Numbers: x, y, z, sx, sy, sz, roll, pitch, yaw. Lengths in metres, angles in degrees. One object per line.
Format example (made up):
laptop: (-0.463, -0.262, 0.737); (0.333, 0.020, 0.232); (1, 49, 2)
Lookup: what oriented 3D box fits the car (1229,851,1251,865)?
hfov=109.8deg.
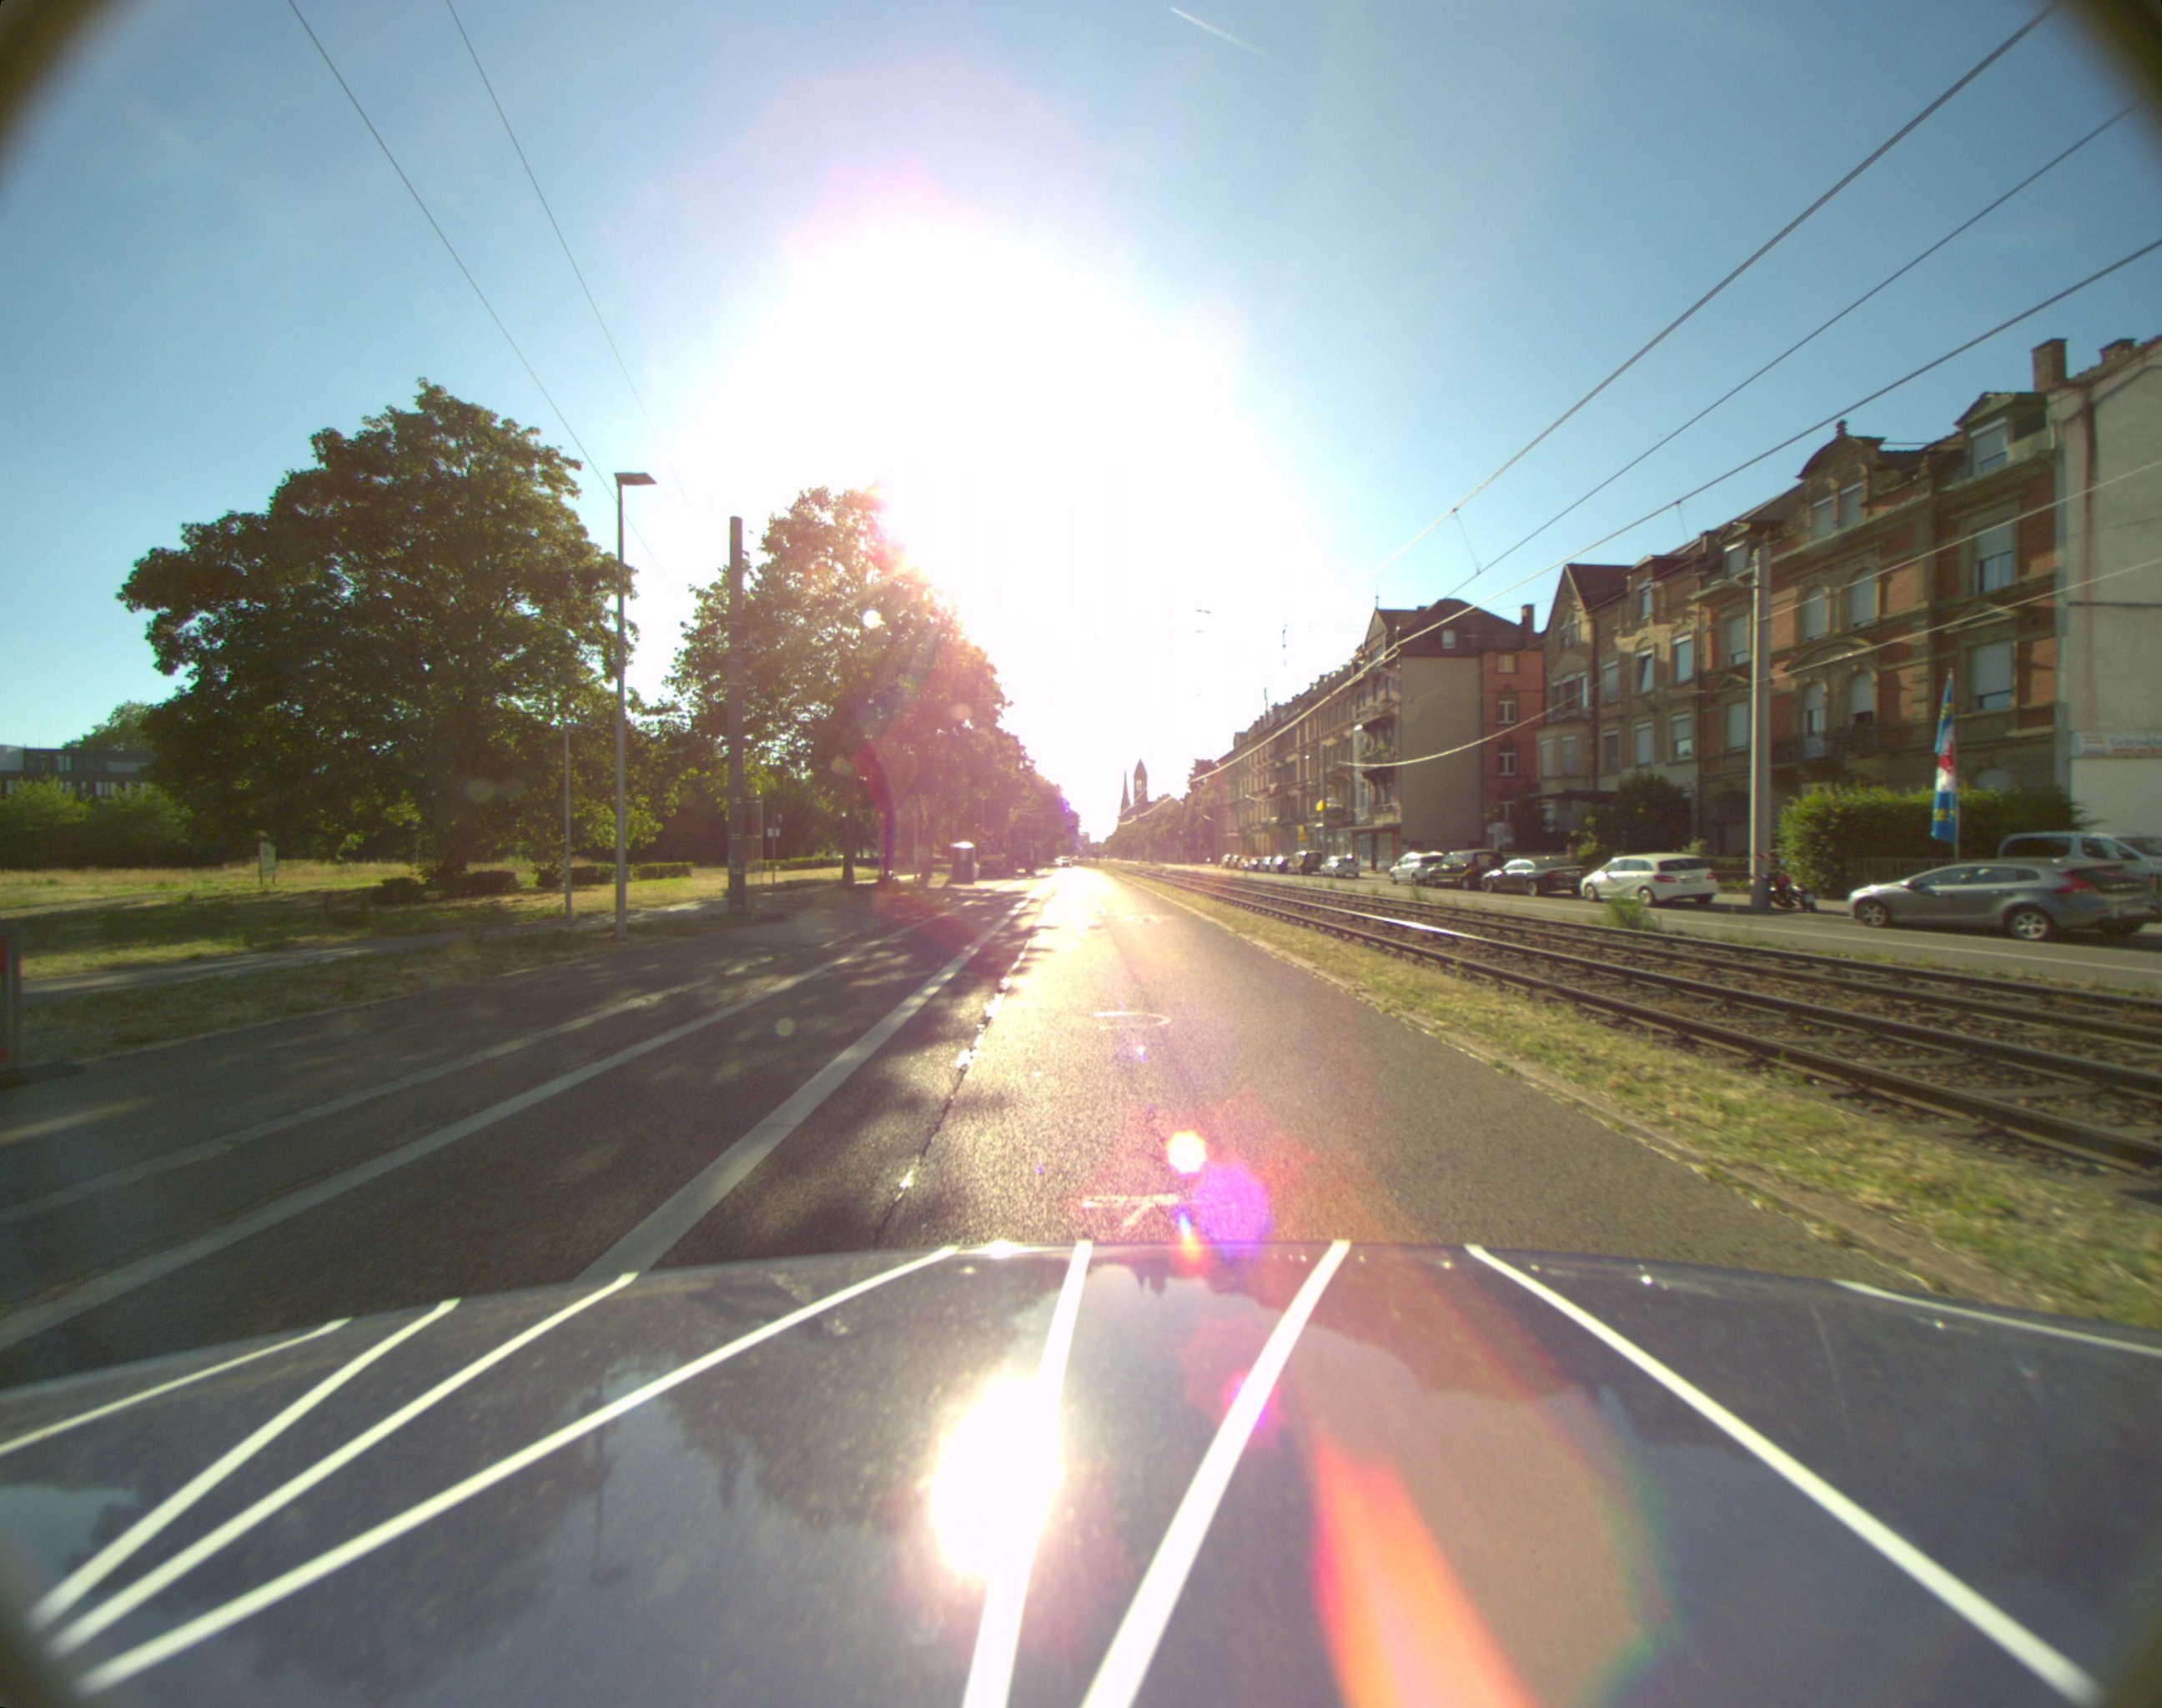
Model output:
car: (18.174, 0.416, 87.142); (1.664, 1.437, 3.764); (-2, 0, 0)

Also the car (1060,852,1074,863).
car: (-1.869, 0.470, 104.169); (1.799, 1.501, 4.000); (-3, 0, 0)

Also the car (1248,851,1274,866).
car: (18.168, 0.432, 76.900); (1.664, 1.437, 3.980); (-2, 0, 0)

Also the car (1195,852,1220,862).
car: (22.241, 0.528, 133.314); (3.991, 1.502, 1.802); (-2, 1, 21)

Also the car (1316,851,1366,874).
car: (18.515, 0.579, 54.360); (1.925, 1.529, 4.627); (-2, 1, 0)

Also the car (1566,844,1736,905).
car: (18.006, 0.589, 24.377); (1.925, 1.684, 4.842); (-2, 0, 2)

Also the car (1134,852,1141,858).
car: (16.721, 0.297, 224.714); (1.799, 1.501, 3.999); (0, 0, -2)

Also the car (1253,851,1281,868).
car: (17.528, 0.490, 71.822); (1.664, 1.437, 3.980); (-2, 0, 0)

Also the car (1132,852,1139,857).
car: (16.850, 0.257, 235.638); (1.799, 1.501, 3.999); (0, 0, -2)

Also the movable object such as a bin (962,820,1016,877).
movable object such as a bin: (-6.929, -0.431, 58.405); (3.347, 3.953, 7.596); (2, 0, -2)

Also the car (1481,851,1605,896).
car: (18.102, 0.700, 30.116); (1.925, 1.551, 4.841); (-2, 0, 0)

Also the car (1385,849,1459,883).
car: (18.261, 0.612, 40.939); (1.925, 1.674, 4.627); (-1, 0, 0)

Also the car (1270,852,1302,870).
car: (17.869, 0.605, 66.239); (1.664, 1.437, 3.980); (-2, 0, 0)

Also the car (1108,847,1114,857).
car: (8.868, -0.636, 224.396); (1.799, 2.766, 3.999); (0, 1, -1)

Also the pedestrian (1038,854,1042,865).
pedestrian: (-6.255, 0.773, 115.759); (0.532, 1.653, 0.486); (1, 0, -23)

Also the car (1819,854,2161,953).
car: (18.020, 0.819, 15.053); (1.926, 1.452, 4.841); (-6, 0, -2)

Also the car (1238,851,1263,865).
car: (18.125, 0.432, 81.315); (1.664, 1.437, 4.196); (-2, 0, 0)

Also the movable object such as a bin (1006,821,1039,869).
movable object such as a bin: (-5.975, -0.893, 78.323); (2.922, 4.584, 7.596); (2, 0, -2)

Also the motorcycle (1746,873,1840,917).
motorcycle: (18.433, 1.034, 19.740); (0.827, 0.948, 2.153); (-2, 1, 14)

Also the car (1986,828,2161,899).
car: (26.136, 0.183, 18.904); (1.908, 1.646, 4.561); (0, 2, 3)

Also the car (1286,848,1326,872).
car: (17.975, 0.434, 60.858); (1.664, 1.797, 4.727); (-2, 0, -2)

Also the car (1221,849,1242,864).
car: (18.125, 0.267, 91.621); (1.798, 1.633, 4.630); (-2, 0, 2)

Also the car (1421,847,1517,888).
car: (18.211, 0.588, 35.920); (1.926, 1.770, 4.496); (-2, 0, -4)
